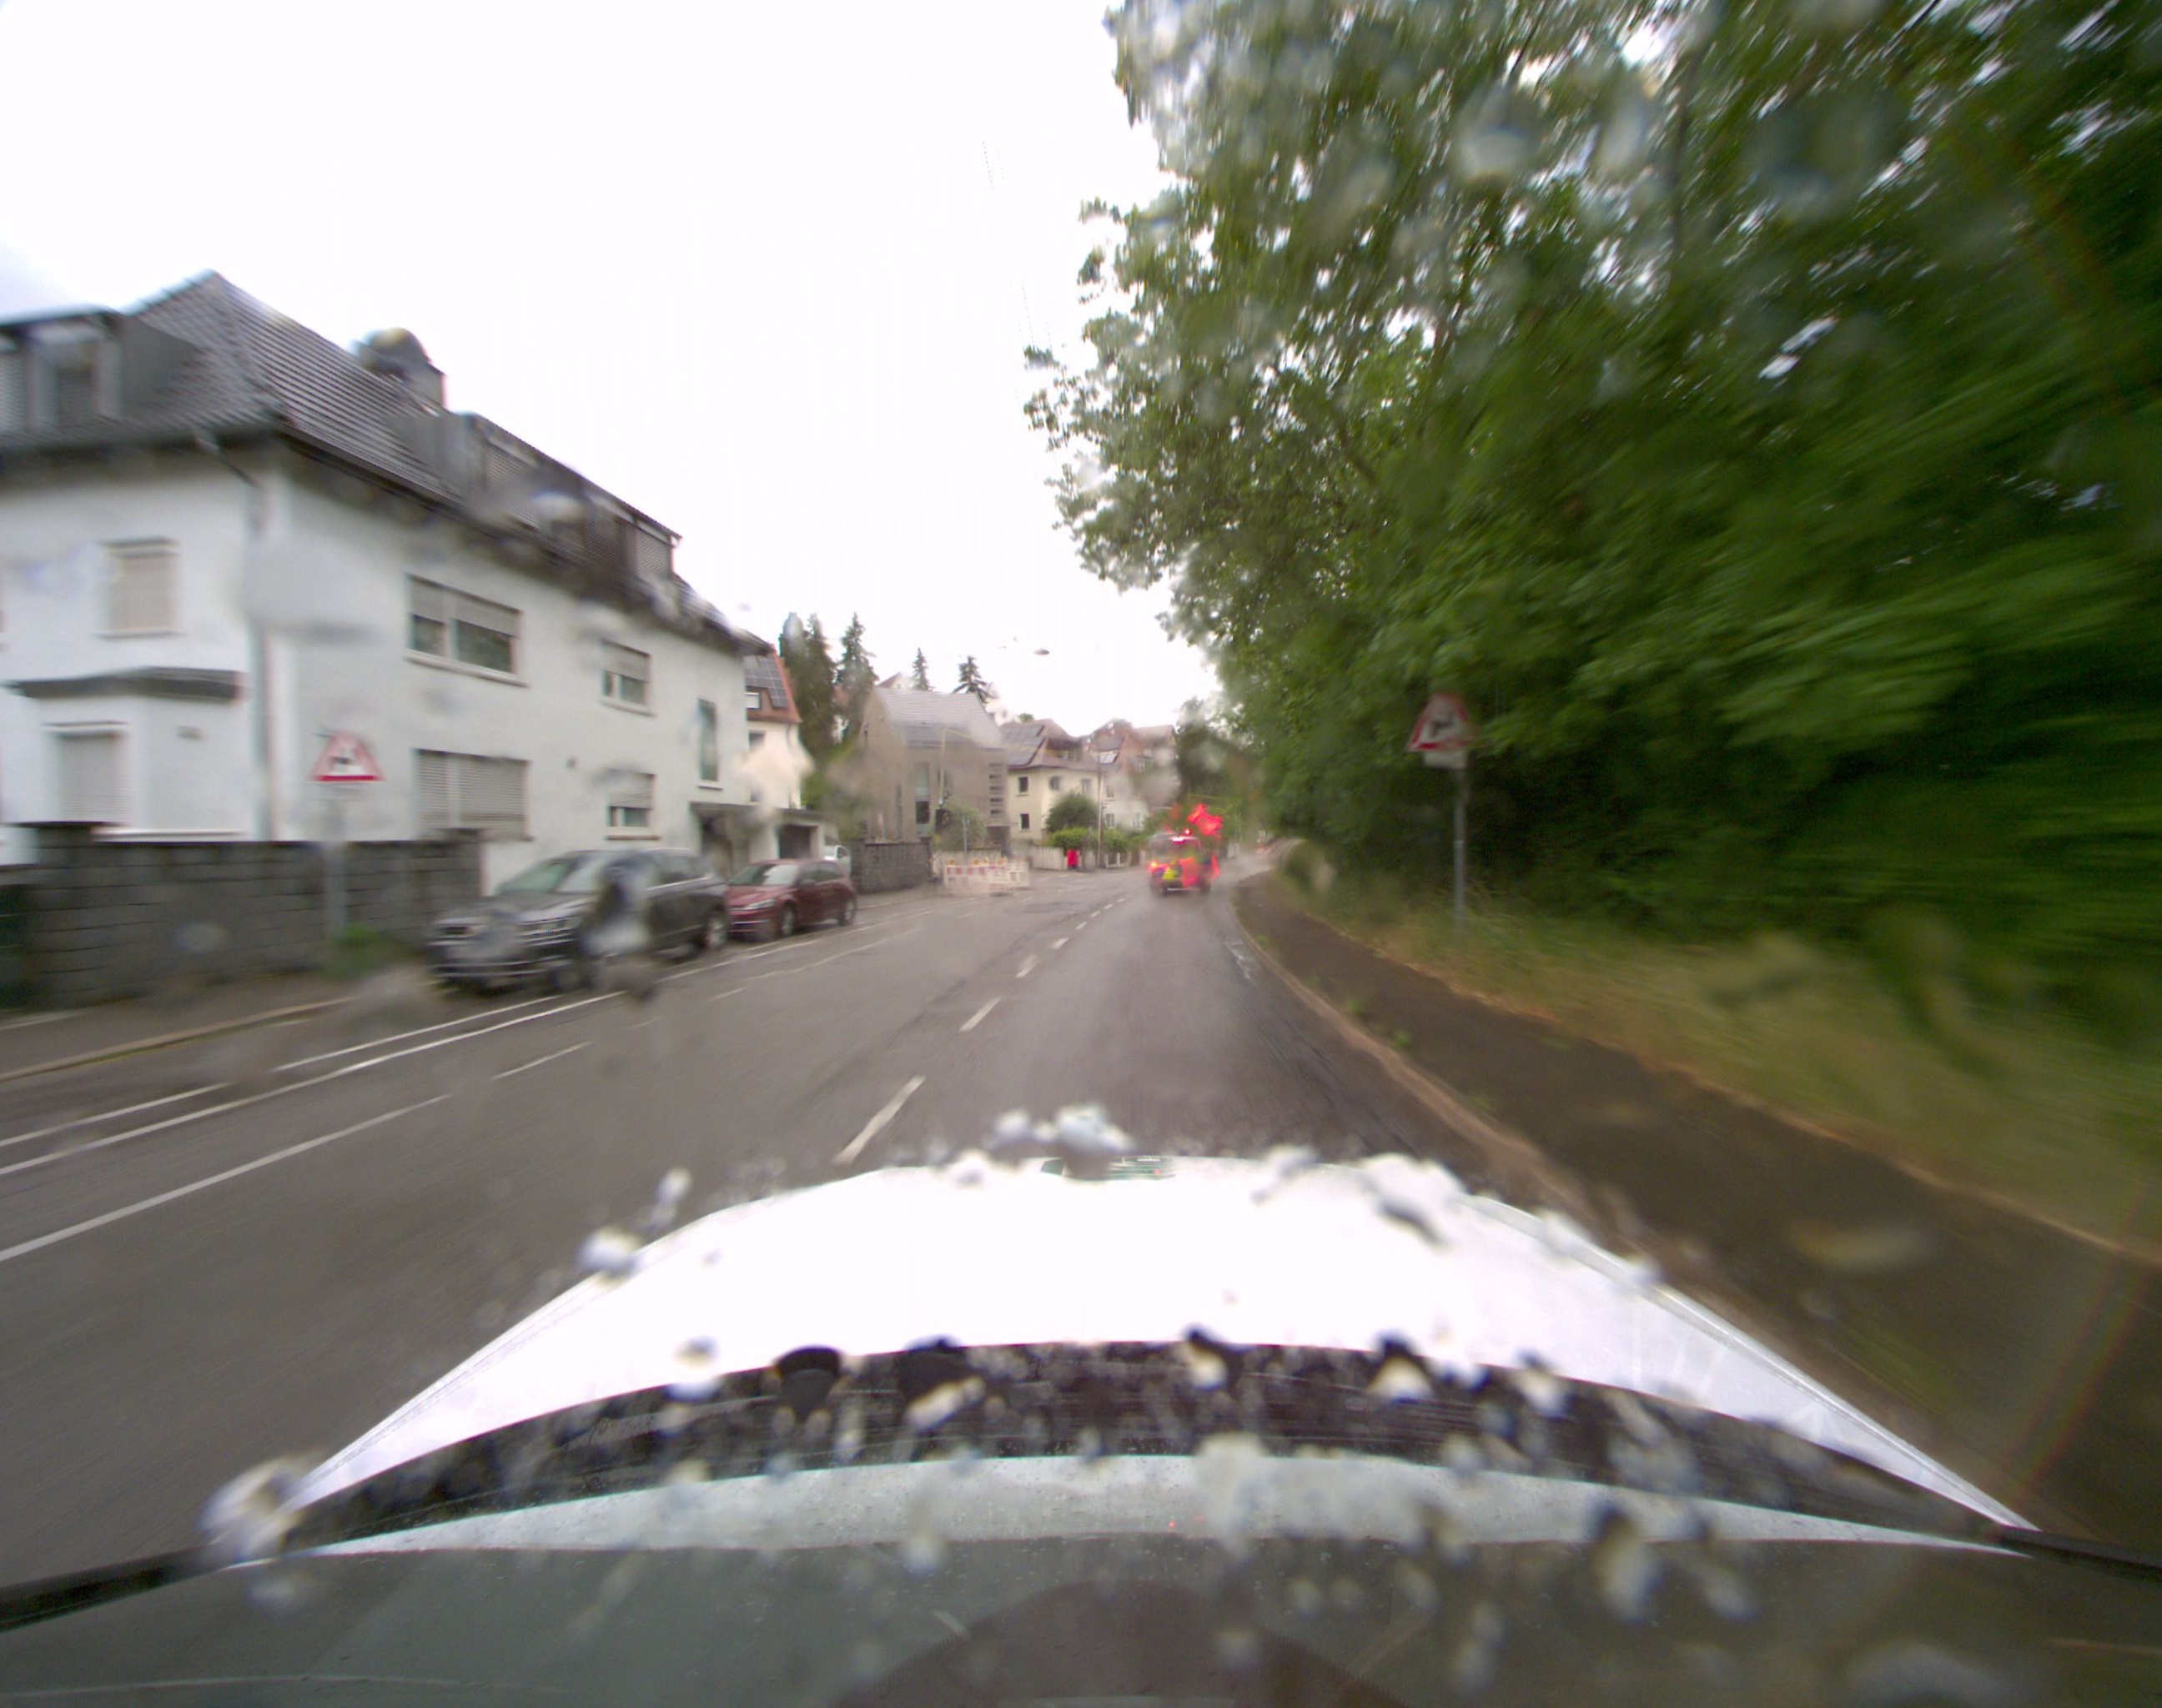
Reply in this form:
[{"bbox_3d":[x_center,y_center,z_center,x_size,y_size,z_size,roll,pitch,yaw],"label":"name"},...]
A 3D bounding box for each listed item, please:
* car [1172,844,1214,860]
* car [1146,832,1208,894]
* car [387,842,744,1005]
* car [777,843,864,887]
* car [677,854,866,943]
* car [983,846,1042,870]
[{"bbox_3d":[11.540,-0.220,83.944,3.949,1.486,1.770,1,-1,30],"label":"car"},{"bbox_3d":[3.473,0.269,28.786,1.982,2.013,4.413,0,0,9],"label":"car"},{"bbox_3d":[-6.401,0.712,10.866,1.747,1.658,4.407,-3,1,2],"label":"car"},{"bbox_3d":[-9.518,0.379,30.034,1.768,1.464,3.621,-2,0,4],"label":"car"},{"bbox_3d":[-5.904,0.779,16.150,1.607,1.440,4.240,-1,1,8],"label":"car"},{"bbox_3d":[-4.412,0.210,52.058,1.848,1.443,3.955,-1,1,-38],"label":"car"}]
